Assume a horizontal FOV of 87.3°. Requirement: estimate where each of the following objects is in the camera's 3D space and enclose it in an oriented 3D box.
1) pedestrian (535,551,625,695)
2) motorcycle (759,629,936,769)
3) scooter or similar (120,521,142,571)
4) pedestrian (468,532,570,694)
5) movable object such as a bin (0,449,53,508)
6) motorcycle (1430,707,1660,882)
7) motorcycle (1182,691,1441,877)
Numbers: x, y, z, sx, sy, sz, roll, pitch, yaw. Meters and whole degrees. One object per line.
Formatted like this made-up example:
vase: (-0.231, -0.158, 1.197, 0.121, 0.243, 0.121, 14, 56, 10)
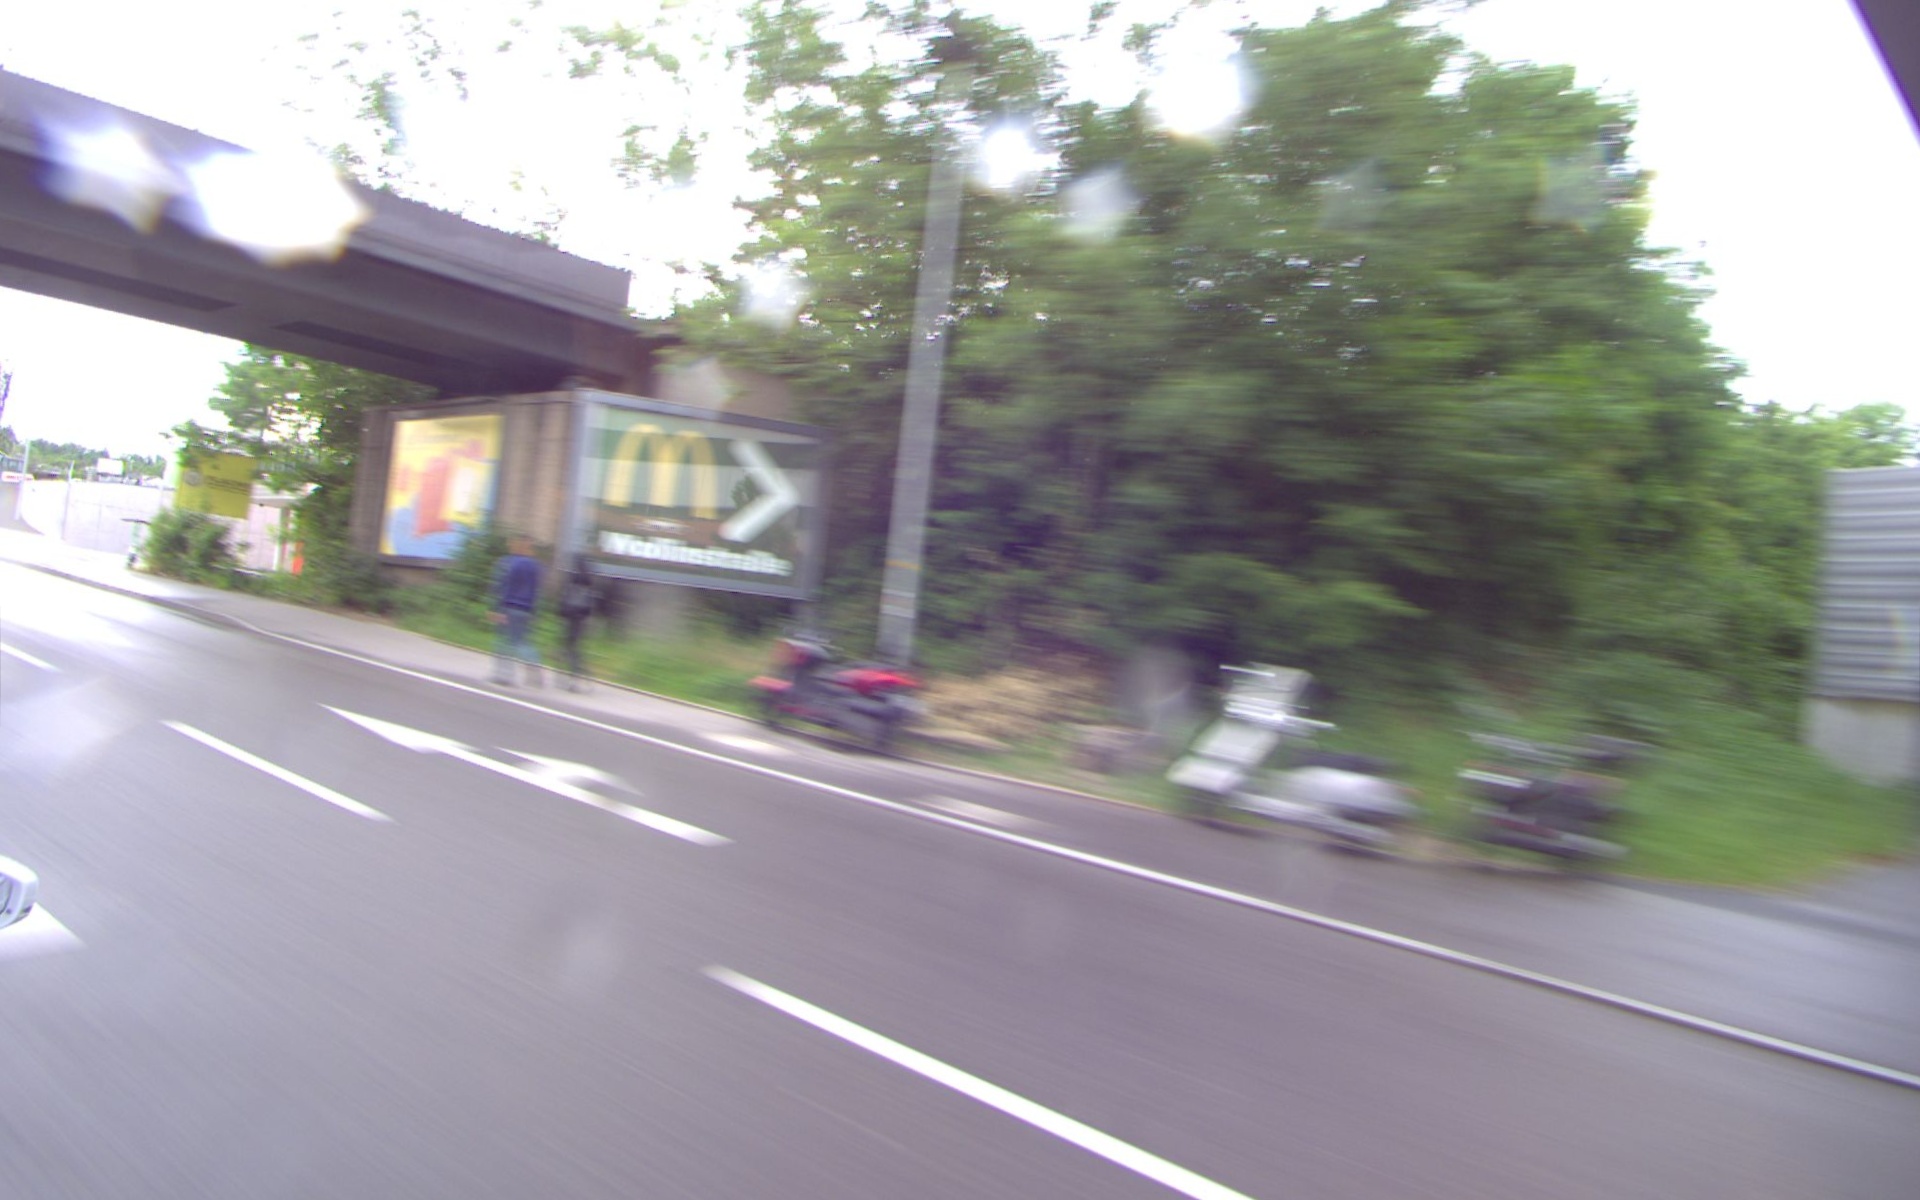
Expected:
pedestrian: (-4.494, 0.273, 11.893, 0.649, 1.615, 0.571, 7, -1, -44)
motorcycle: (-1.164, 0.971, 10.193, 1.790, 1.150, 0.470, 6, -1, 34)
scooter or similar: (-19.809, -1.304, 24.041, 0.254, 1.142, 1.266, 9, -2, -38)
pedestrian: (-5.064, 0.140, 11.544, 0.880, 1.741, 0.610, 6, -1, 44)
movable object such as a bin: (-62.860, -8.145, 66.456, 5.328, 3.314, 2.309, 8, -1, 27)
motorcycle: (5.114, 1.706, 8.771, 1.918, 1.313, 0.545, 8, -1, -21)
motorcycle: (2.947, 1.524, 8.573, 1.907, 1.227, 0.471, 7, 0, 16)
